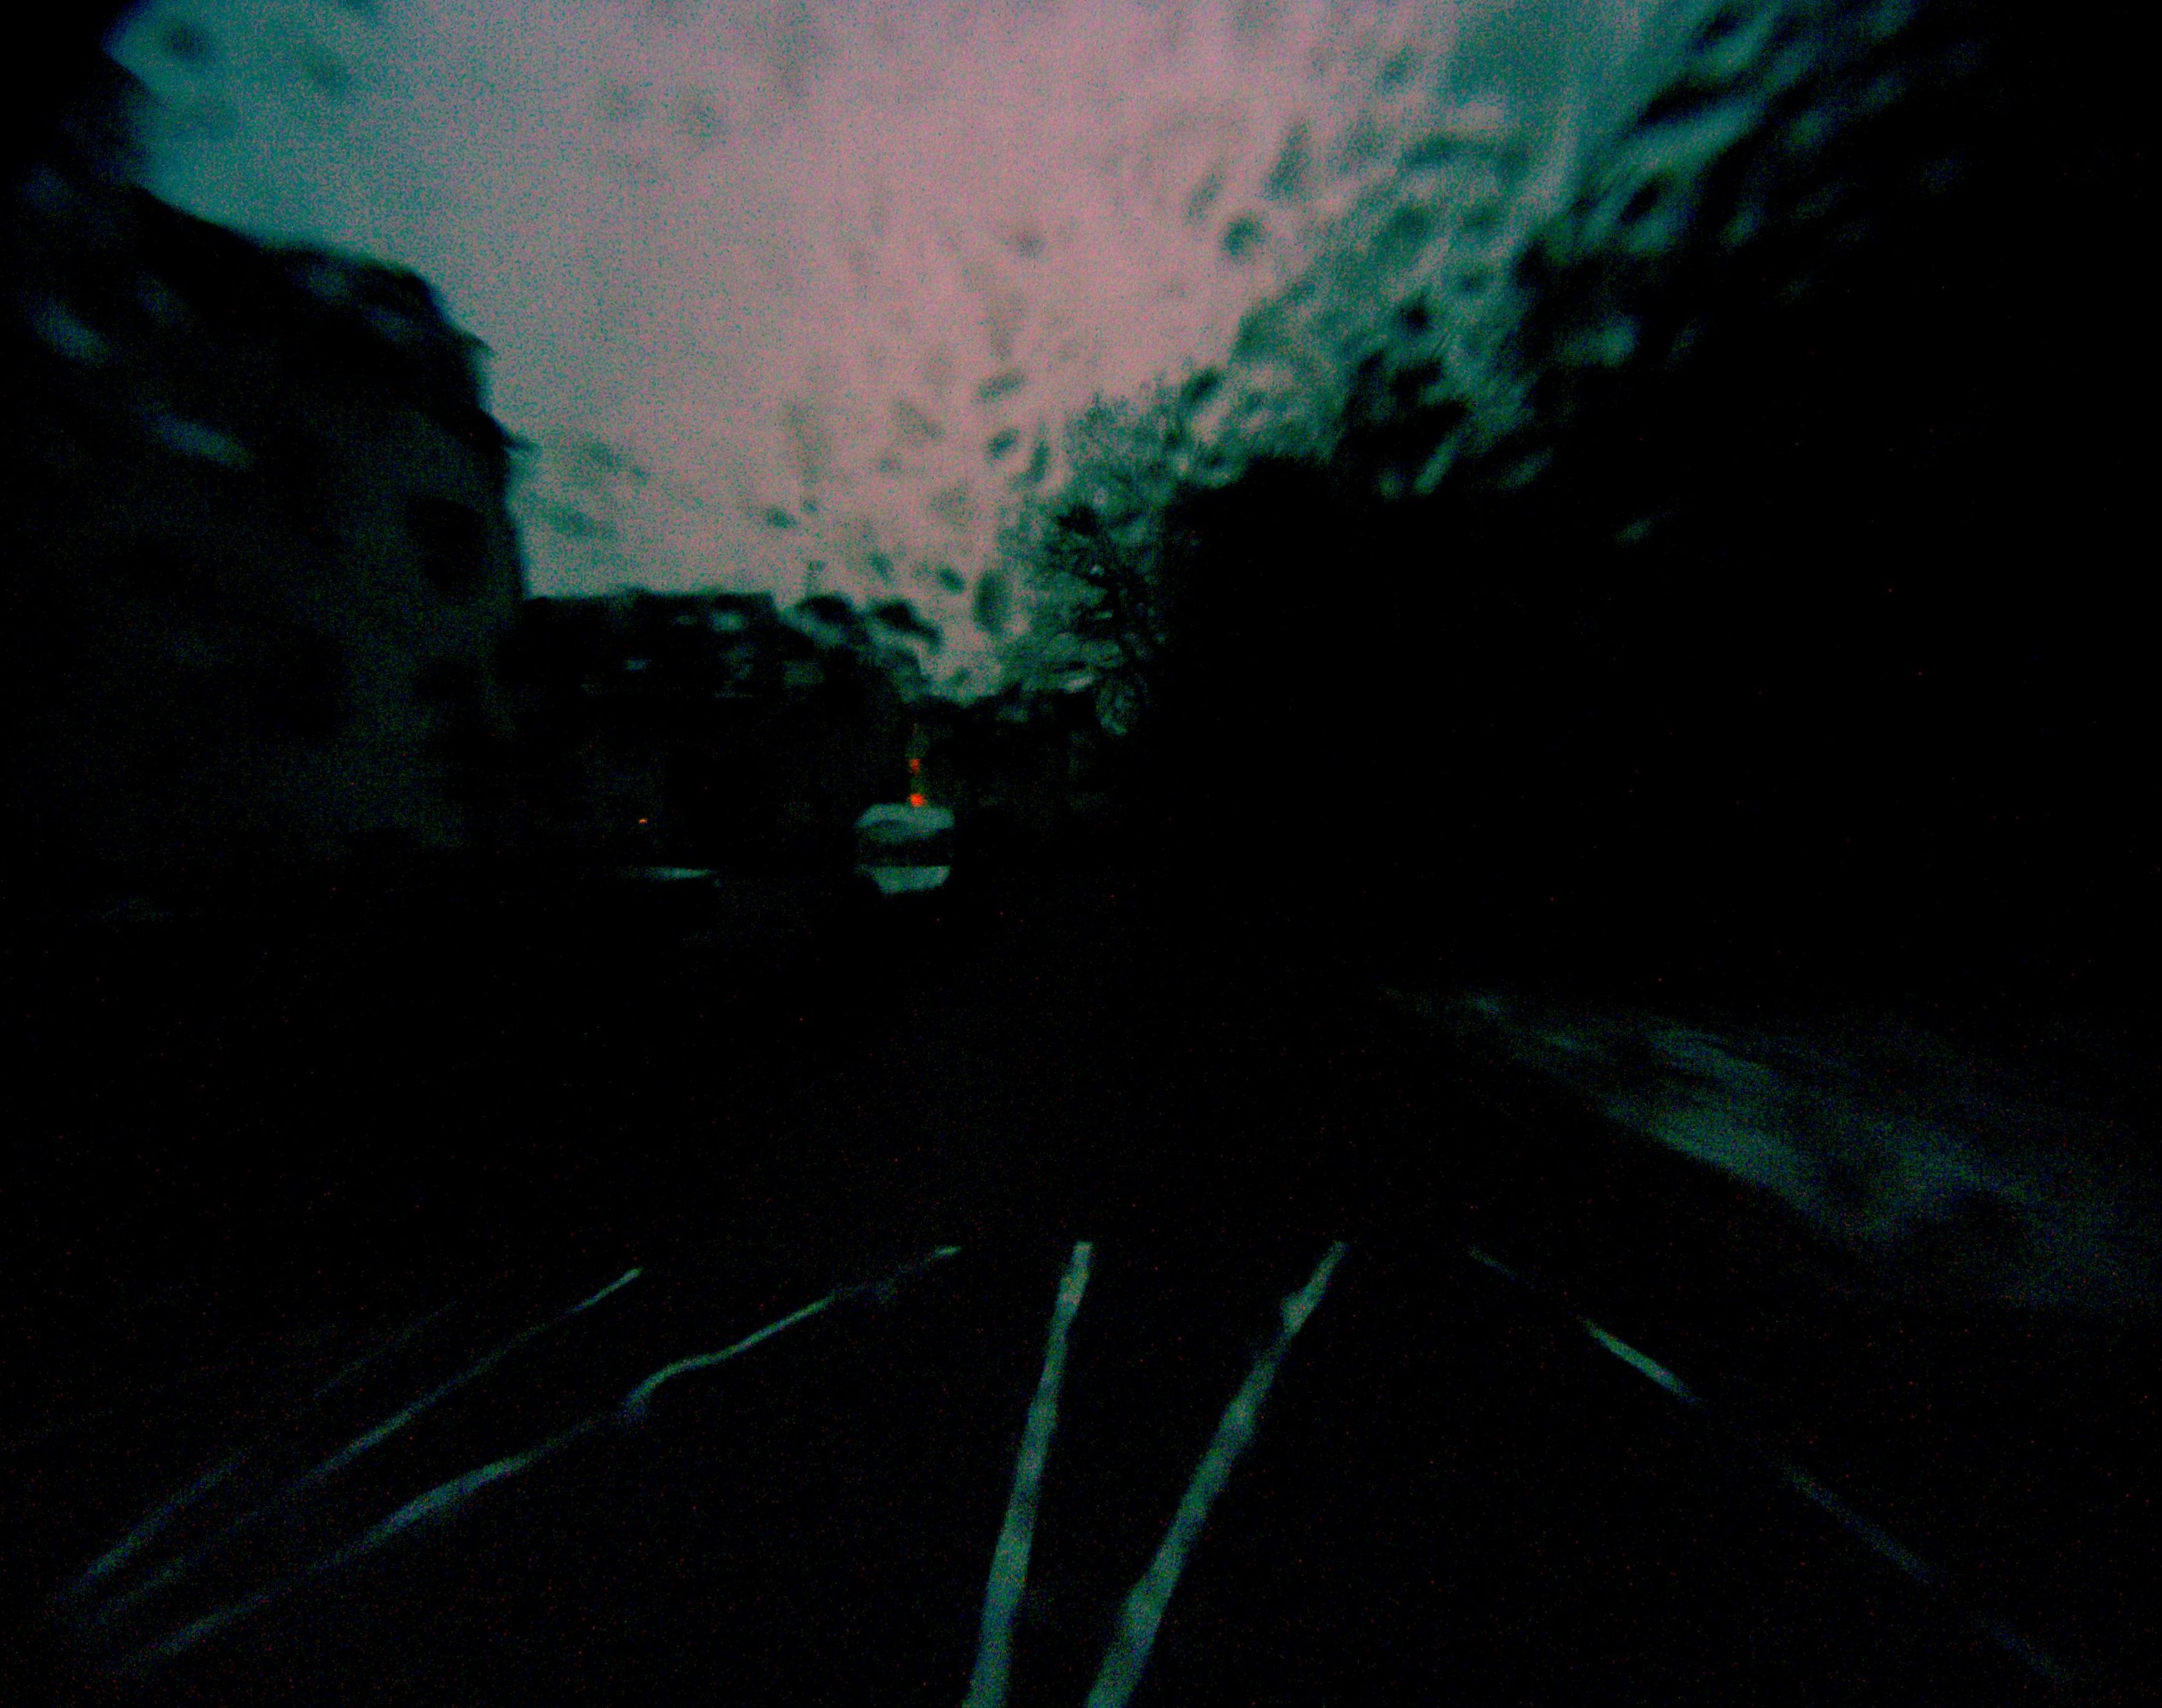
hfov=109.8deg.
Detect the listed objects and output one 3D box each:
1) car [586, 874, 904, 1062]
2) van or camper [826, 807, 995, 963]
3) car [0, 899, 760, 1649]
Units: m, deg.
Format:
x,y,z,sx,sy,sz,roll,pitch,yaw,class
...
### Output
x,y,z,sx,sy,sz,roll,pitch,yaw,class
-3.271,1.004,8.377,1.660,1.382,4.122,-1,1,0,car
-3.139,0.473,15.660,2.019,2.493,6.791,-1,1,-1,van or camper
-3.222,1.061,3.300,1.659,1.382,4.531,-1,1,1,car
